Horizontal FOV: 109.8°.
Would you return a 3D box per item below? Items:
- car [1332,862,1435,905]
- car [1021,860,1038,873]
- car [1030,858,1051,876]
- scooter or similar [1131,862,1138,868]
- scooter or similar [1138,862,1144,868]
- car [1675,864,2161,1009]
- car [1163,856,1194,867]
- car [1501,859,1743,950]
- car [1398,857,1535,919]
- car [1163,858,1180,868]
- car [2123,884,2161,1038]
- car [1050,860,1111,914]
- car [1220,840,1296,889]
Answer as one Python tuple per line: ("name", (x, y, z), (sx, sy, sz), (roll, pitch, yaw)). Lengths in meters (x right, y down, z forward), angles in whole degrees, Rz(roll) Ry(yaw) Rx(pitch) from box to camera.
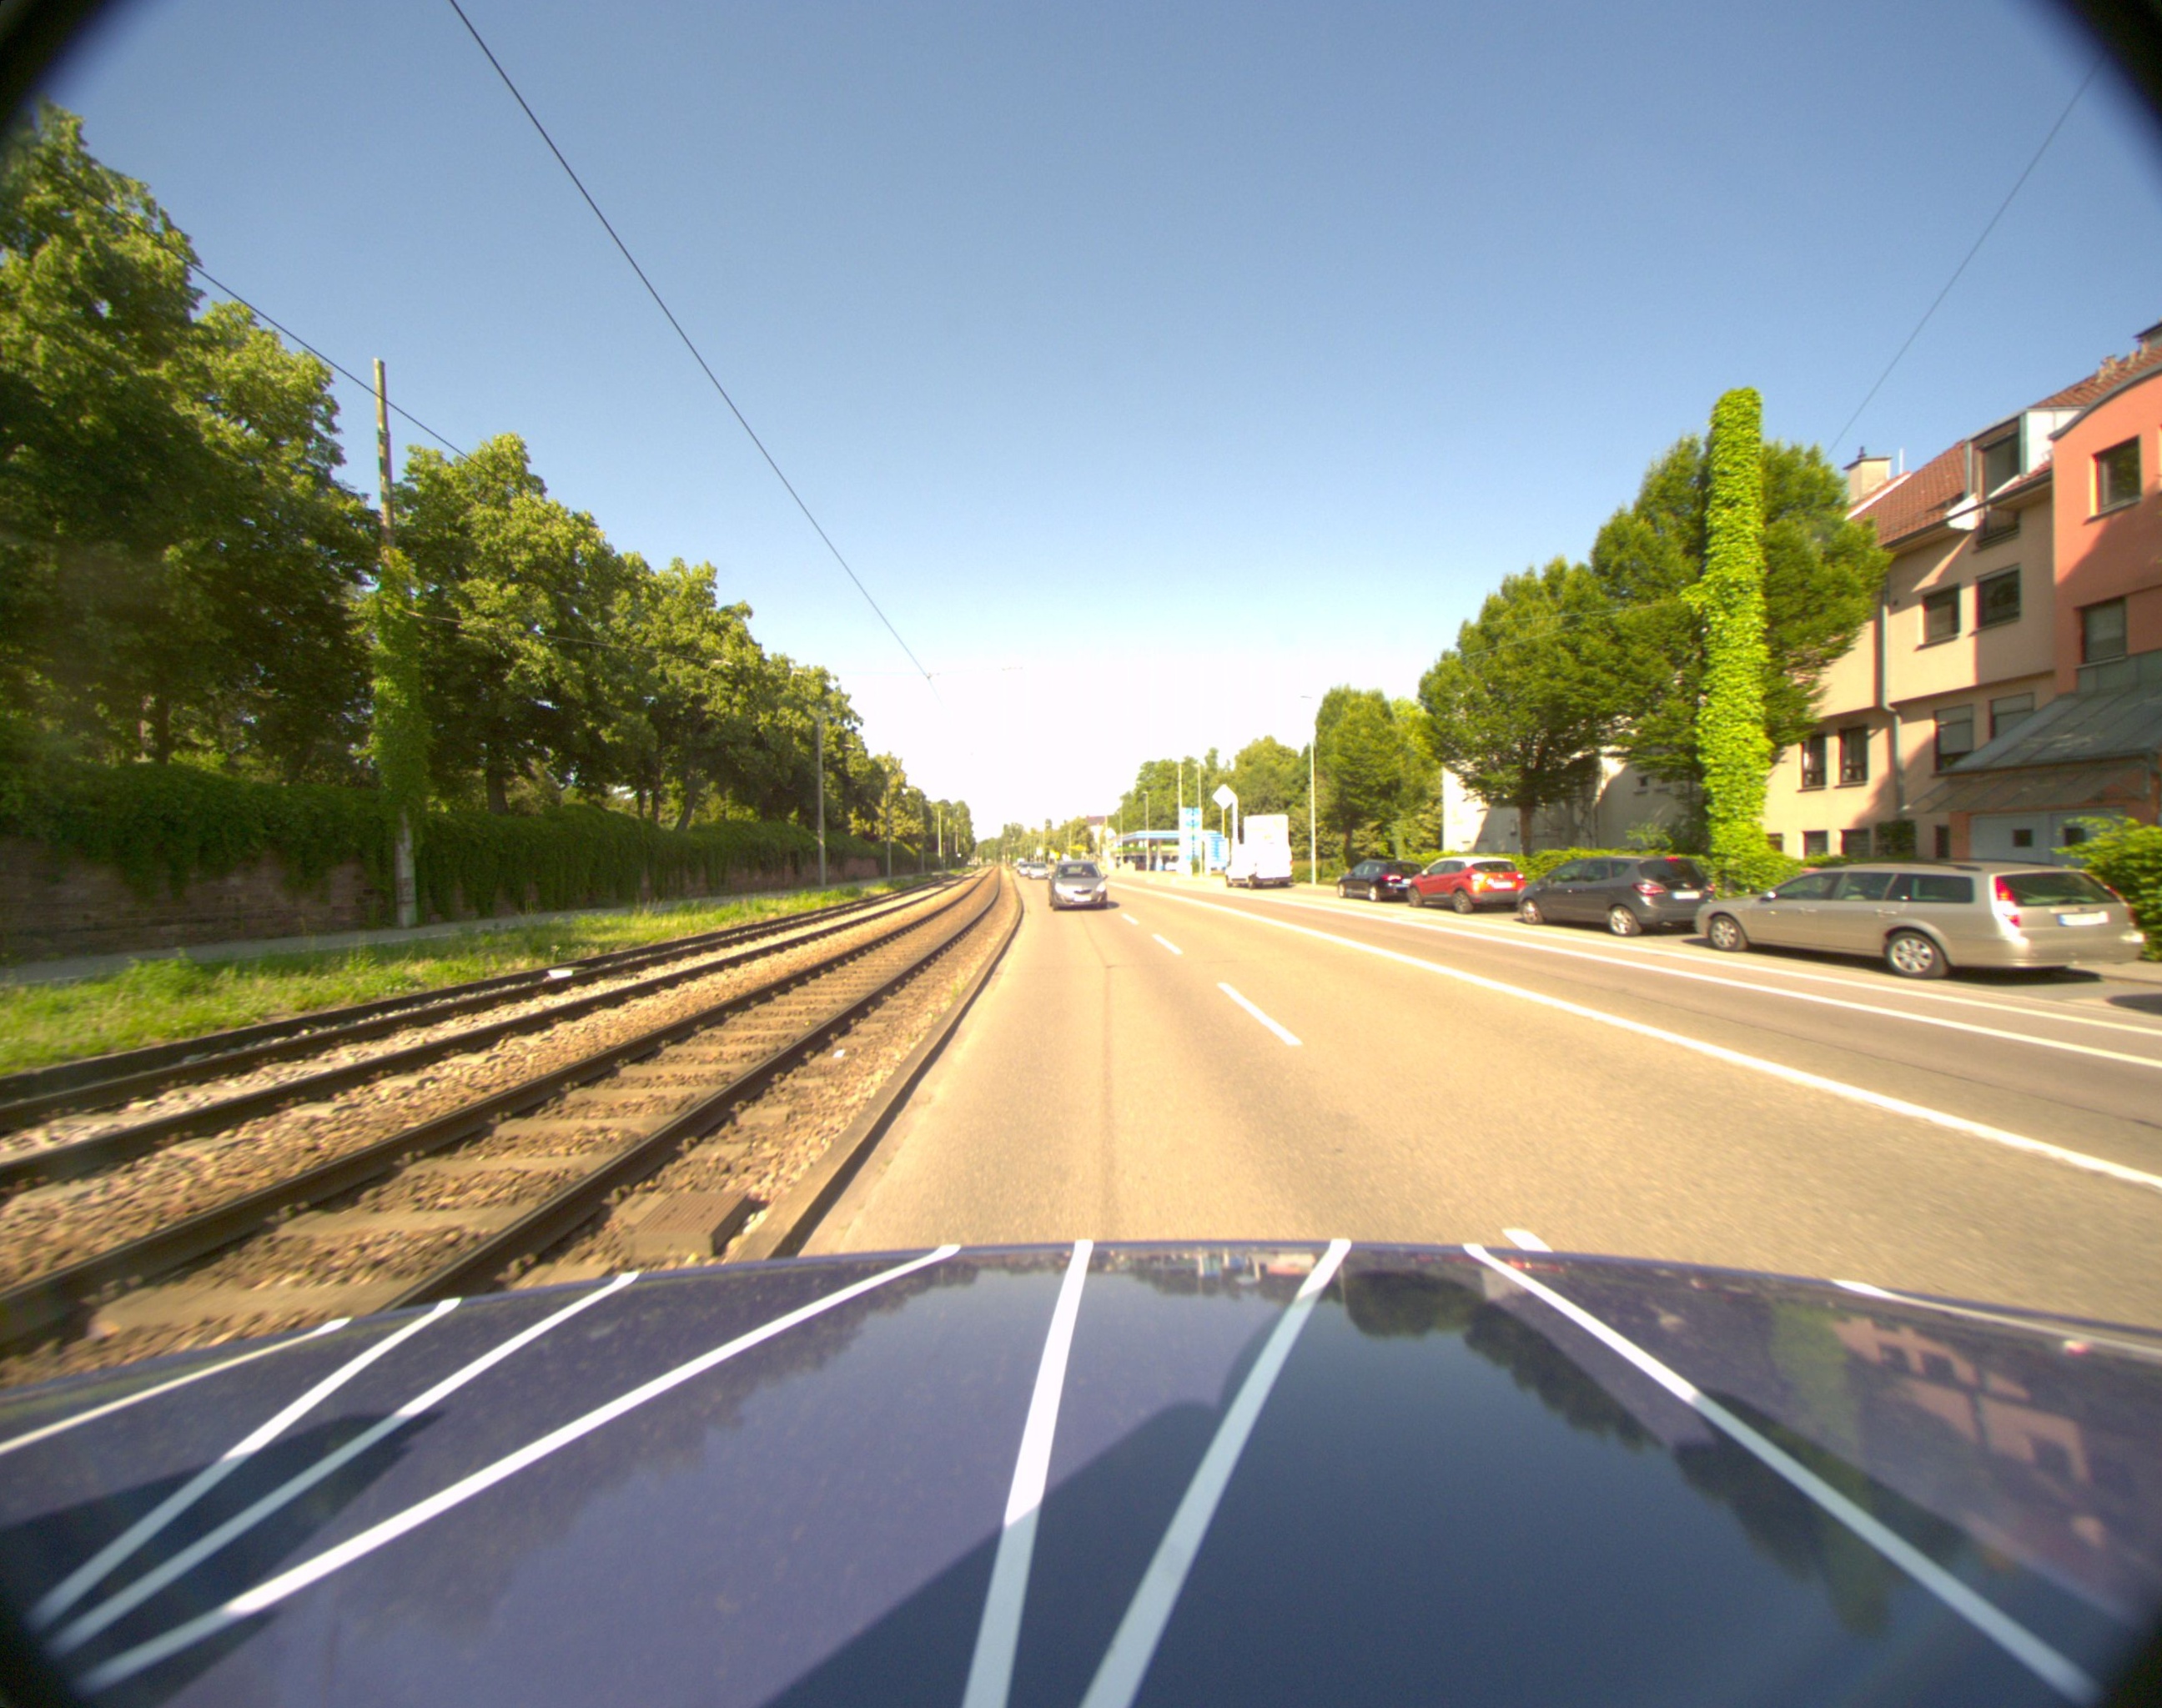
("car", (10.883, 1.006, 27.744), (1.657, 1.416, 4.712), (-1, 0, -3))
("car", (-5.526, 1.282, 80.798), (1.579, 1.306, 3.998), (-2, 0, -7))
("car", (-3.614, 1.173, 67.430), (1.710, 1.487, 3.998), (-2, 0, -4))
("scooter or similar", (9.213, 1.890, 130.393), (1.143, 1.110, 0.350), (0, 0, 4))
("scooter or similar", (10.336, 1.878, 130.404), (1.031, 1.103, 0.350), (0, 0, 2))
("car", (11.474, 0.973, 11.073), (1.717, 1.463, 4.843), (-3, 1, -2))
("car", (16.673, 1.268, 130.030), (5.084, 1.929, 1.857), (0, 0, -1))
("car", (11.286, 0.951, 16.298), (1.768, 1.564, 4.296), (-3, 0, -6))
("car", (11.191, 0.920, 22.414), (1.767, 1.565, 4.160), (-1, 0, -3))
("car", (13.463, 1.305, 112.872), (1.742, 1.481, 4.273), (0, 0, -5))
("car", (11.316, 0.996, 5.143), (1.714, 1.463, 4.909), (-3, 0, -1))
("car", (-0.090, 1.030, 24.935), (1.731, 1.574, 3.762), (-2, 0, -4))
("car", (9.774, 0.597, 42.663), (2.158, 2.443, 6.181), (-3, 0, -6))
